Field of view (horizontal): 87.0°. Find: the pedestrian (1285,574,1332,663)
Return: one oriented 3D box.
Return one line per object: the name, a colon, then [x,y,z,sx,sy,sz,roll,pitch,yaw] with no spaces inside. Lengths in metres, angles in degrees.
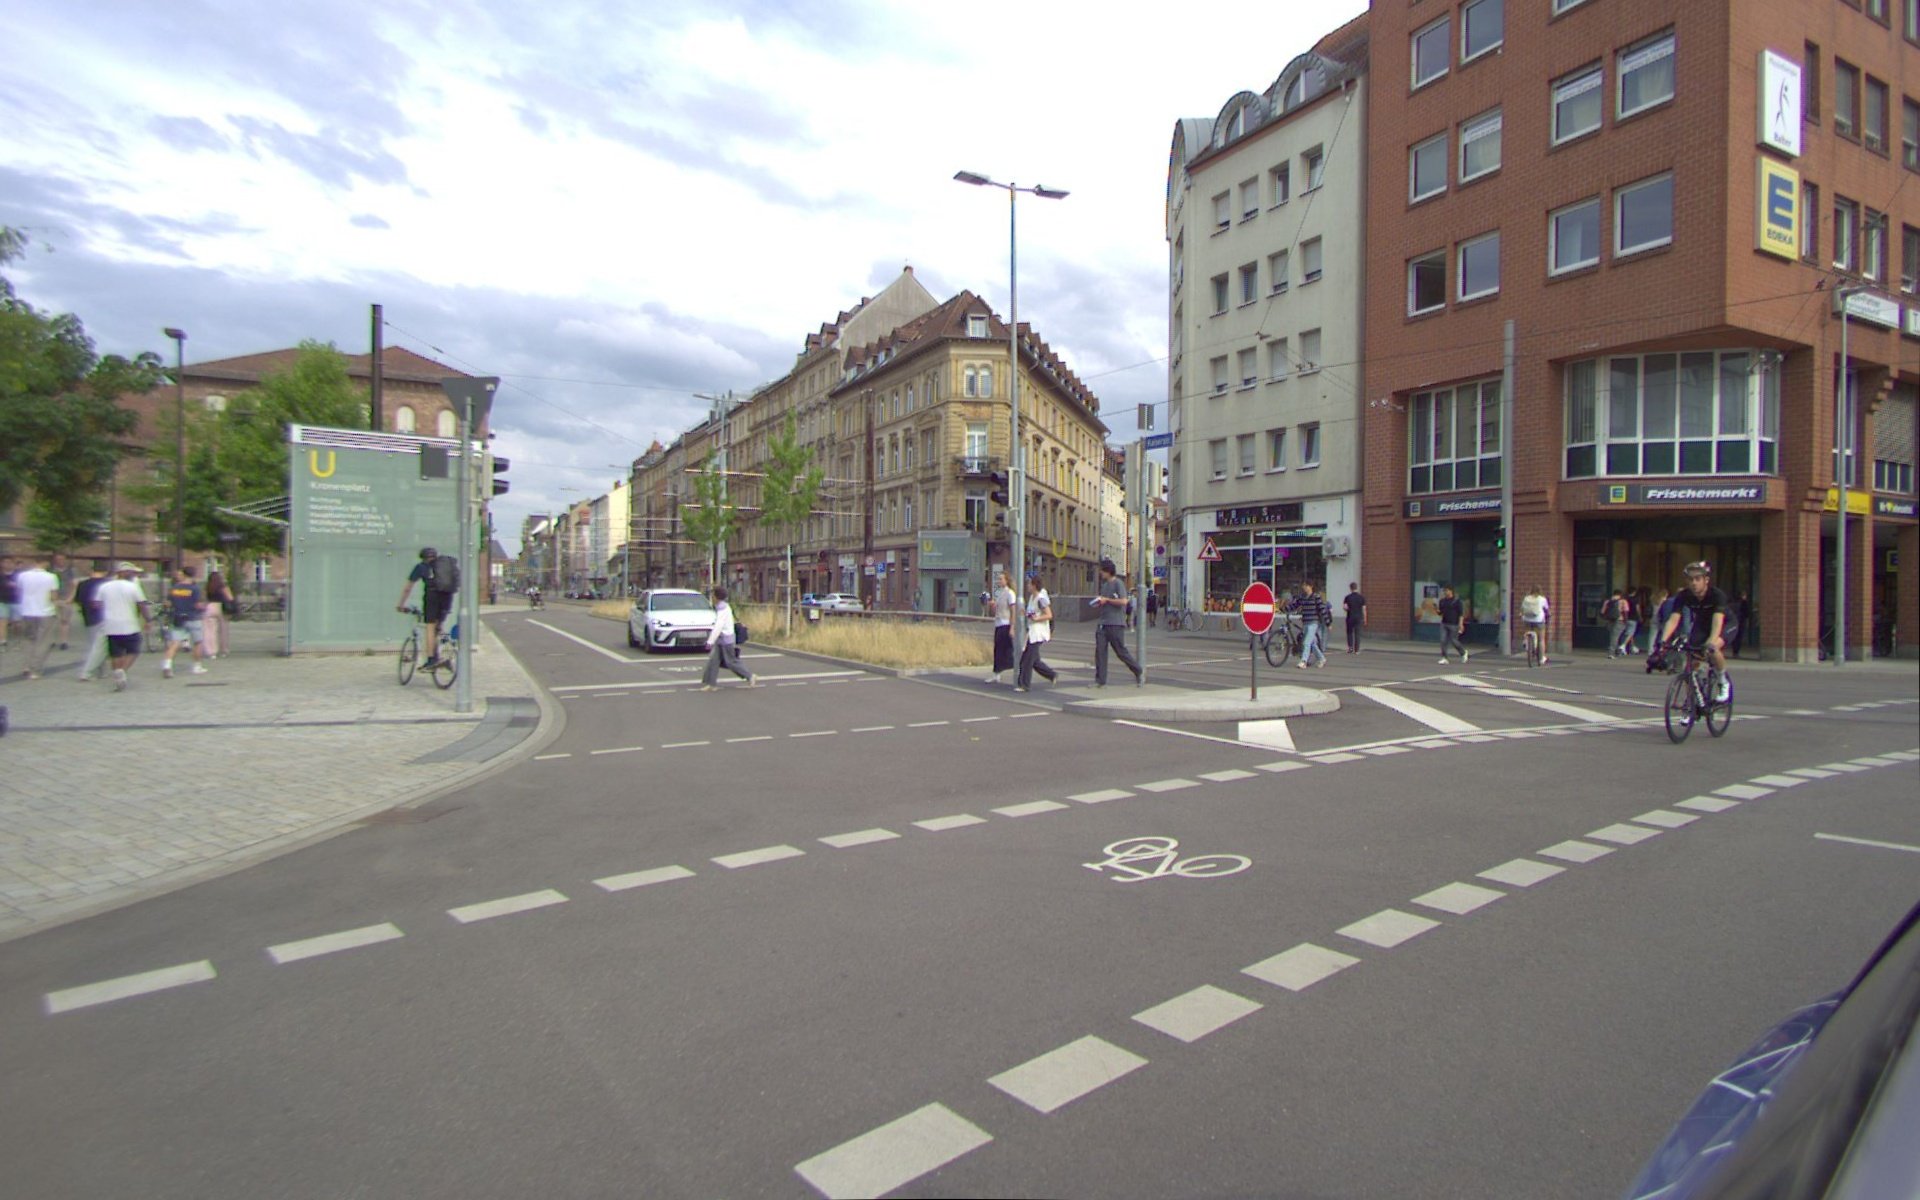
pedestrian: [6.819,0.353,19.799,0.711,1.707,0.522,1,0,-26]

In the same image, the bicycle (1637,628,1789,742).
bicycle: [7.395,0.797,9.918,1.712,1.013,0.490,0,0,-28]

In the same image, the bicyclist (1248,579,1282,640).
bicyclist: [8.095,0.242,26.823,0.738,1.578,0.938,1,0,24]

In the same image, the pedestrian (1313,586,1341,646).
pedestrian: [9.565,0.419,26.386,0.583,1.530,0.628,1,-1,11]

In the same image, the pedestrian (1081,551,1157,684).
pedestrian: [2.319,0.248,14.738,0.859,1.878,0.641,1,0,-27]

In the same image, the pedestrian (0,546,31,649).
pedestrian: [-17.640,-0.049,18.680,0.573,1.891,0.549,2,-1,-31]

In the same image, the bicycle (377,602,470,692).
bicycle: [-7.567,0.626,14.236,1.910,1.136,0.386,2,1,38]

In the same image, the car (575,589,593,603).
car: [-54.585,-0.527,146.877,1.919,1.928,4.005,0,-2,-27]

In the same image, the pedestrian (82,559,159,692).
pedestrian: [-11.108,0.332,13.413,0.614,1.702,0.807,0,-1,-28]

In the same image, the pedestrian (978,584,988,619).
pedestrian: [1.160,0.065,50.461,0.417,1.706,0.514,1,0,6]

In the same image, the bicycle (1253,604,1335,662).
bicycle: [6.713,0.644,20.301,1.792,1.124,0.398,0,0,-26]

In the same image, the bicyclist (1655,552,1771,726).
bicyclist: [7.365,0.362,9.903,0.830,1.624,0.614,0,0,-28]

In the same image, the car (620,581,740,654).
car: [-6.816,0.330,24.315,1.959,1.530,4.611,-1,1,-26]

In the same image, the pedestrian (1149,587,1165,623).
pedestrian: [9.188,0.242,47.244,0.571,1.657,0.545,0,0,-6]

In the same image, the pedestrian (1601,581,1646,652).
pedestrian: [16.078,0.397,24.532,0.874,1.672,0.543,1,0,-27]

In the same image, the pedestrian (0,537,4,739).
pedestrian: [-8.582,0.339,8.304,0.671,1.762,0.940,1,0,-13]

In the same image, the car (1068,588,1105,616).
car: [7.590,0.121,60.465,1.672,1.606,3.641,1,0,16]

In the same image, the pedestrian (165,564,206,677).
pedestrian: [-12.270,0.313,16.044,0.406,1.759,0.596,1,0,-27]

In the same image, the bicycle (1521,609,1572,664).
bicycle: [12.682,0.756,21.859,2.042,1.136,0.390,1,0,-44]

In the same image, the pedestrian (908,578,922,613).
pedestrian: [-2.239,-0.234,50.453,0.593,1.706,0.734,-3,0,-3]

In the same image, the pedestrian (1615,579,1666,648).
pedestrian: [17.372,0.333,25.834,1.034,1.736,0.650,0,0,-27]

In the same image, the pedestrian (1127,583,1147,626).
pedestrian: [6.791,0.172,38.847,0.705,1.647,0.792,1,0,5]

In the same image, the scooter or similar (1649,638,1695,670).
scooter or similar: [14.139,1.067,20.097,0.800,0.581,0.508,0,0,-34]

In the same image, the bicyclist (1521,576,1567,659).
bicyclist: [12.528,0.358,21.712,0.848,1.731,0.641,1,0,-44]

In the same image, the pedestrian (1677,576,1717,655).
pedestrian: [17.216,0.349,23.644,0.550,1.820,0.543,1,0,-27]

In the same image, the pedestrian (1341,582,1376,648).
pedestrian: [10.257,0.376,26.071,0.696,1.669,0.719,1,-1,11]

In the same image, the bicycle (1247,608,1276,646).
bicycle: [8.060,0.693,26.997,0.537,0.962,1.792,1,0,23]

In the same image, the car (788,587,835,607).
car: [-9.776,-0.214,66.479,1.800,1.282,4.160,0,1,-28]

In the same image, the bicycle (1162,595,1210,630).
bicycle: [8.289,0.452,37.230,0.533,1.219,1.807,1,0,-36]

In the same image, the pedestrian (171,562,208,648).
pedestrian: [-15.743,0.100,20.684,0.470,1.726,0.640,2,-1,-31]

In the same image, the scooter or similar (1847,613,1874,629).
scooter or similar: [23.720,0.558,26.649,0.873,0.424,0.264,1,0,-29]

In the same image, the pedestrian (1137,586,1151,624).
pedestrian: [8.573,0.219,47.168,0.530,1.744,0.520,0,0,-6]

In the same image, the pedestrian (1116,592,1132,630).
pedestrian: [7.640,0.524,47.207,0.579,1.744,0.520,0,0,-6]

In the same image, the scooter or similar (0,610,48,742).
scooter or similar: [-8.742,0.662,9.059,0.595,1.124,0.703,1,1,-14]

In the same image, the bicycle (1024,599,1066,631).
bicycle: [3.035,0.513,36.235,0.384,1.100,1.921,1,0,-33]

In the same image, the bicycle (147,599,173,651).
bicycle: [-16.210,0.491,20.511,0.284,1.008,1.141,0,0,-32]

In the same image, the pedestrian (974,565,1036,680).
pedestrian: [0.687,0.338,15.586,0.693,1.716,0.635,1,0,-37]

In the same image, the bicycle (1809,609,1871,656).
bicycle: [22.368,0.806,25.720,1.664,1.105,0.568,-1,3,-28]

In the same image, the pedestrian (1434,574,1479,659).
pedestrian: [10.913,0.358,22.261,0.681,1.847,0.570,1,0,-28]

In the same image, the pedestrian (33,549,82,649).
pedestrian: [-17.312,-0.015,19.421,0.573,1.891,0.491,2,-1,-32]

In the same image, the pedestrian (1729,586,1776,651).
pedestrian: [20.181,0.452,25.770,0.903,1.621,0.621,1,0,-27]

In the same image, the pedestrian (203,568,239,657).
pedestrian: [-14.131,0.231,19.365,0.431,1.662,0.679,1,0,-27]

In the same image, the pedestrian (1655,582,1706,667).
pedestrian: [14.664,0.486,20.595,0.588,1.709,0.641,1,0,-27]

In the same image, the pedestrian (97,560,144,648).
pedestrian: [-16.788,0.087,20.249,0.573,1.726,0.640,2,-1,-31]

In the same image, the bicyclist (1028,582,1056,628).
bicyclist: [2.930,0.182,36.202,0.630,1.623,0.863,1,0,-32]

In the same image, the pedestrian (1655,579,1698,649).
pedestrian: [17.890,0.336,25.288,0.637,1.709,0.650,-1,0,-27]

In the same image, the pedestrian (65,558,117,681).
pedestrian: [-12.789,0.275,14.910,0.406,1.759,0.702,1,0,-27]

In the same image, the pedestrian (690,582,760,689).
pedestrian: [-3.461,0.501,14.933,0.833,1.519,0.552,-2,1,-43]

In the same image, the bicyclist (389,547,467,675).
bicyclist: [-7.491,0.147,14.238,0.904,1.731,0.689,0,0,42]

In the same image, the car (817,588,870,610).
car: [-7.092,-0.083,61.110,1.800,1.282,4.160,0,1,-28]

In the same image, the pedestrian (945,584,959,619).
pedestrian: [-0.398,0.095,49.659,0.504,1.706,0.425,1,0,-26]

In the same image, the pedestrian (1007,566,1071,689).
pedestrian: [1.125,0.375,14.412,0.780,1.707,0.470,0,0,-32]

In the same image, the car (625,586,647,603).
car: [-39.809,-0.637,124.252,1.959,1.928,4.005,0,-2,-27]
